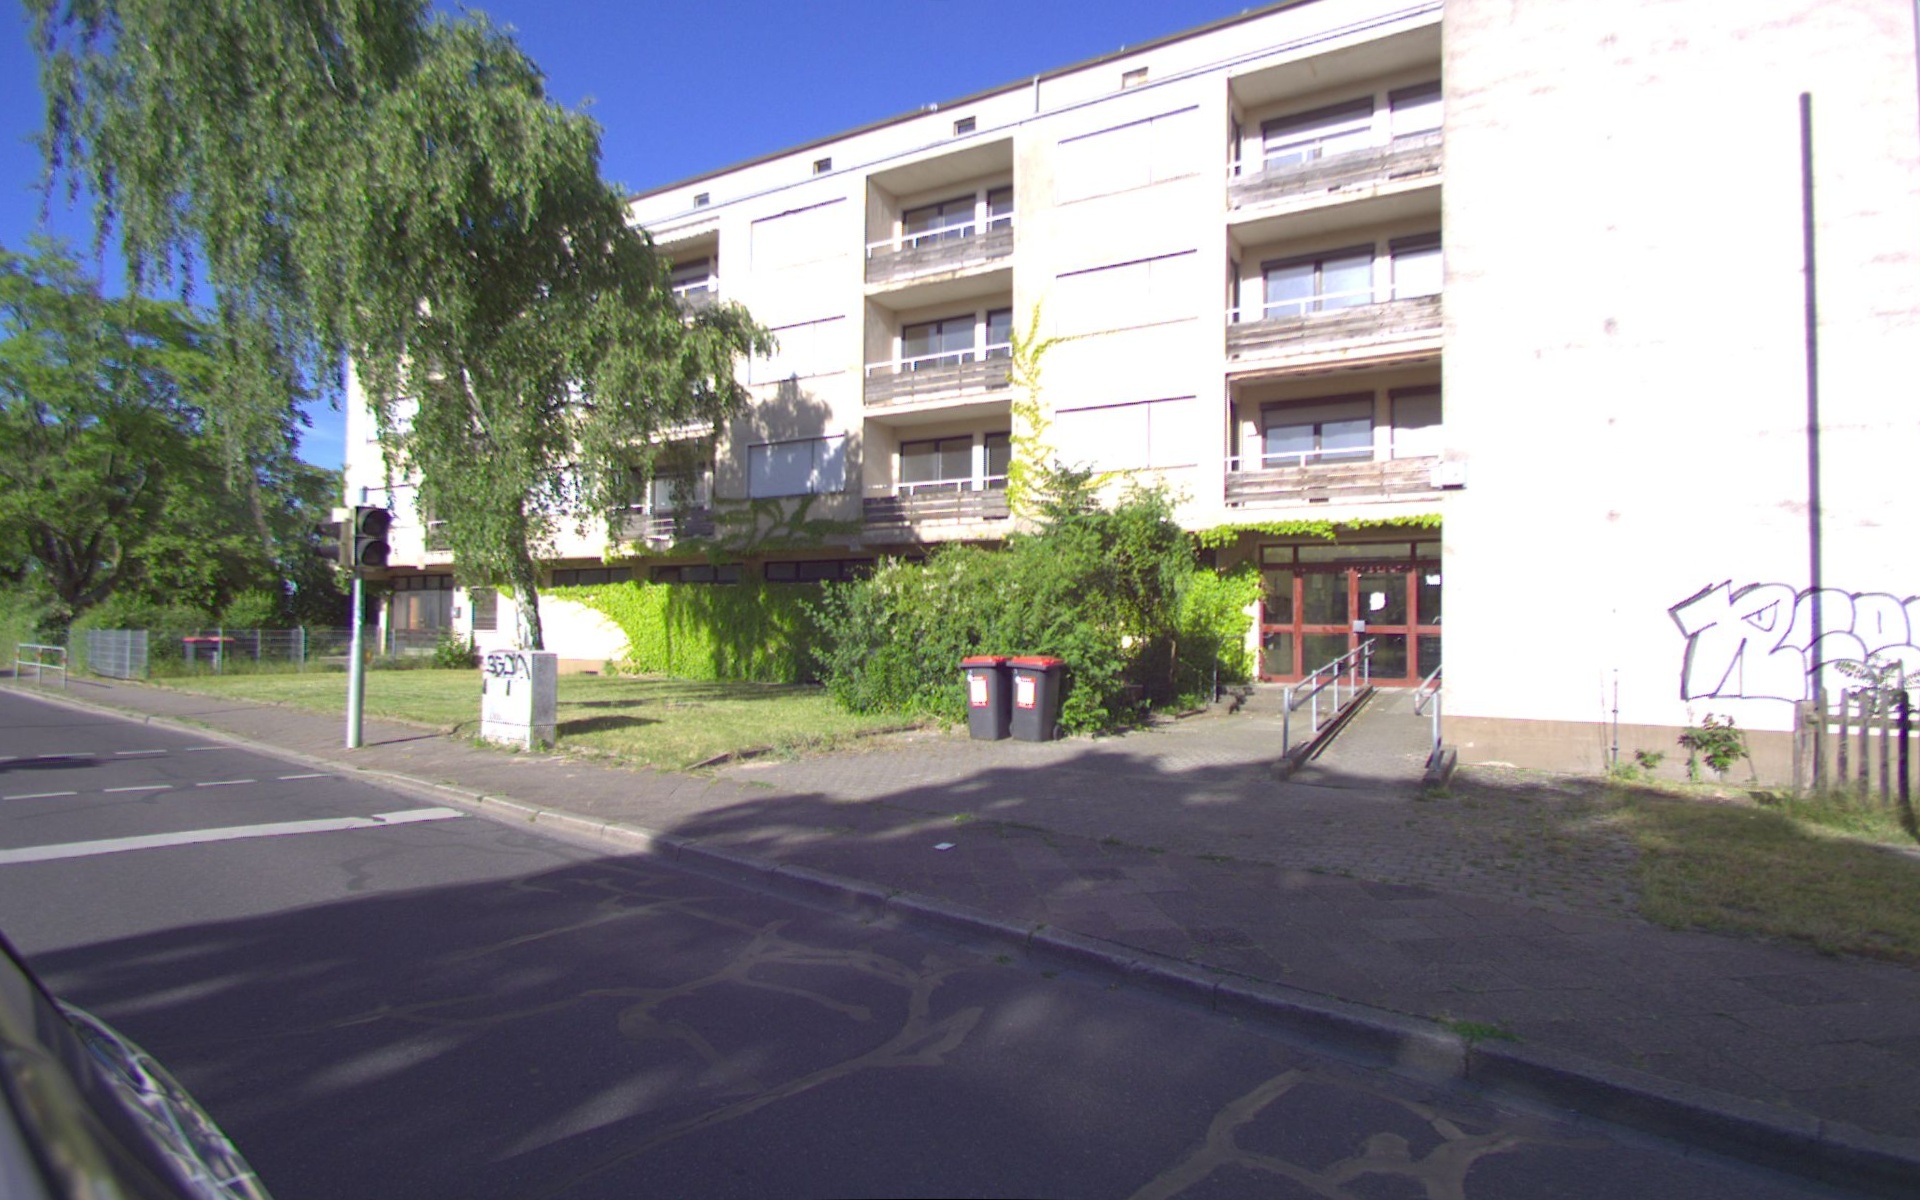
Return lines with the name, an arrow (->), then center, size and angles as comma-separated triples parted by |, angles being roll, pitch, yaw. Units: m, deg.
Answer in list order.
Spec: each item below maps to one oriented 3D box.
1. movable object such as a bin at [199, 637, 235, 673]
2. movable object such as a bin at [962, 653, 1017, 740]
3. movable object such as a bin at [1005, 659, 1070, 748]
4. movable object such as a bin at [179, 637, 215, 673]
movable object such as a bin -> -21.982, 1.618, 29.956 | 0.709, 1.032, 0.616 | -1, -4, 34
movable object such as a bin -> 0.385, 1.221, 12.972 | 0.552, 1.061, 0.561 | 0, -3, 19
movable object such as a bin -> 0.981, 1.285, 12.742 | 0.697, 1.056, 0.625 | 0, -3, 18
movable object such as a bin -> -22.250, 1.589, 29.519 | 0.709, 1.032, 0.616 | -1, -4, 34
